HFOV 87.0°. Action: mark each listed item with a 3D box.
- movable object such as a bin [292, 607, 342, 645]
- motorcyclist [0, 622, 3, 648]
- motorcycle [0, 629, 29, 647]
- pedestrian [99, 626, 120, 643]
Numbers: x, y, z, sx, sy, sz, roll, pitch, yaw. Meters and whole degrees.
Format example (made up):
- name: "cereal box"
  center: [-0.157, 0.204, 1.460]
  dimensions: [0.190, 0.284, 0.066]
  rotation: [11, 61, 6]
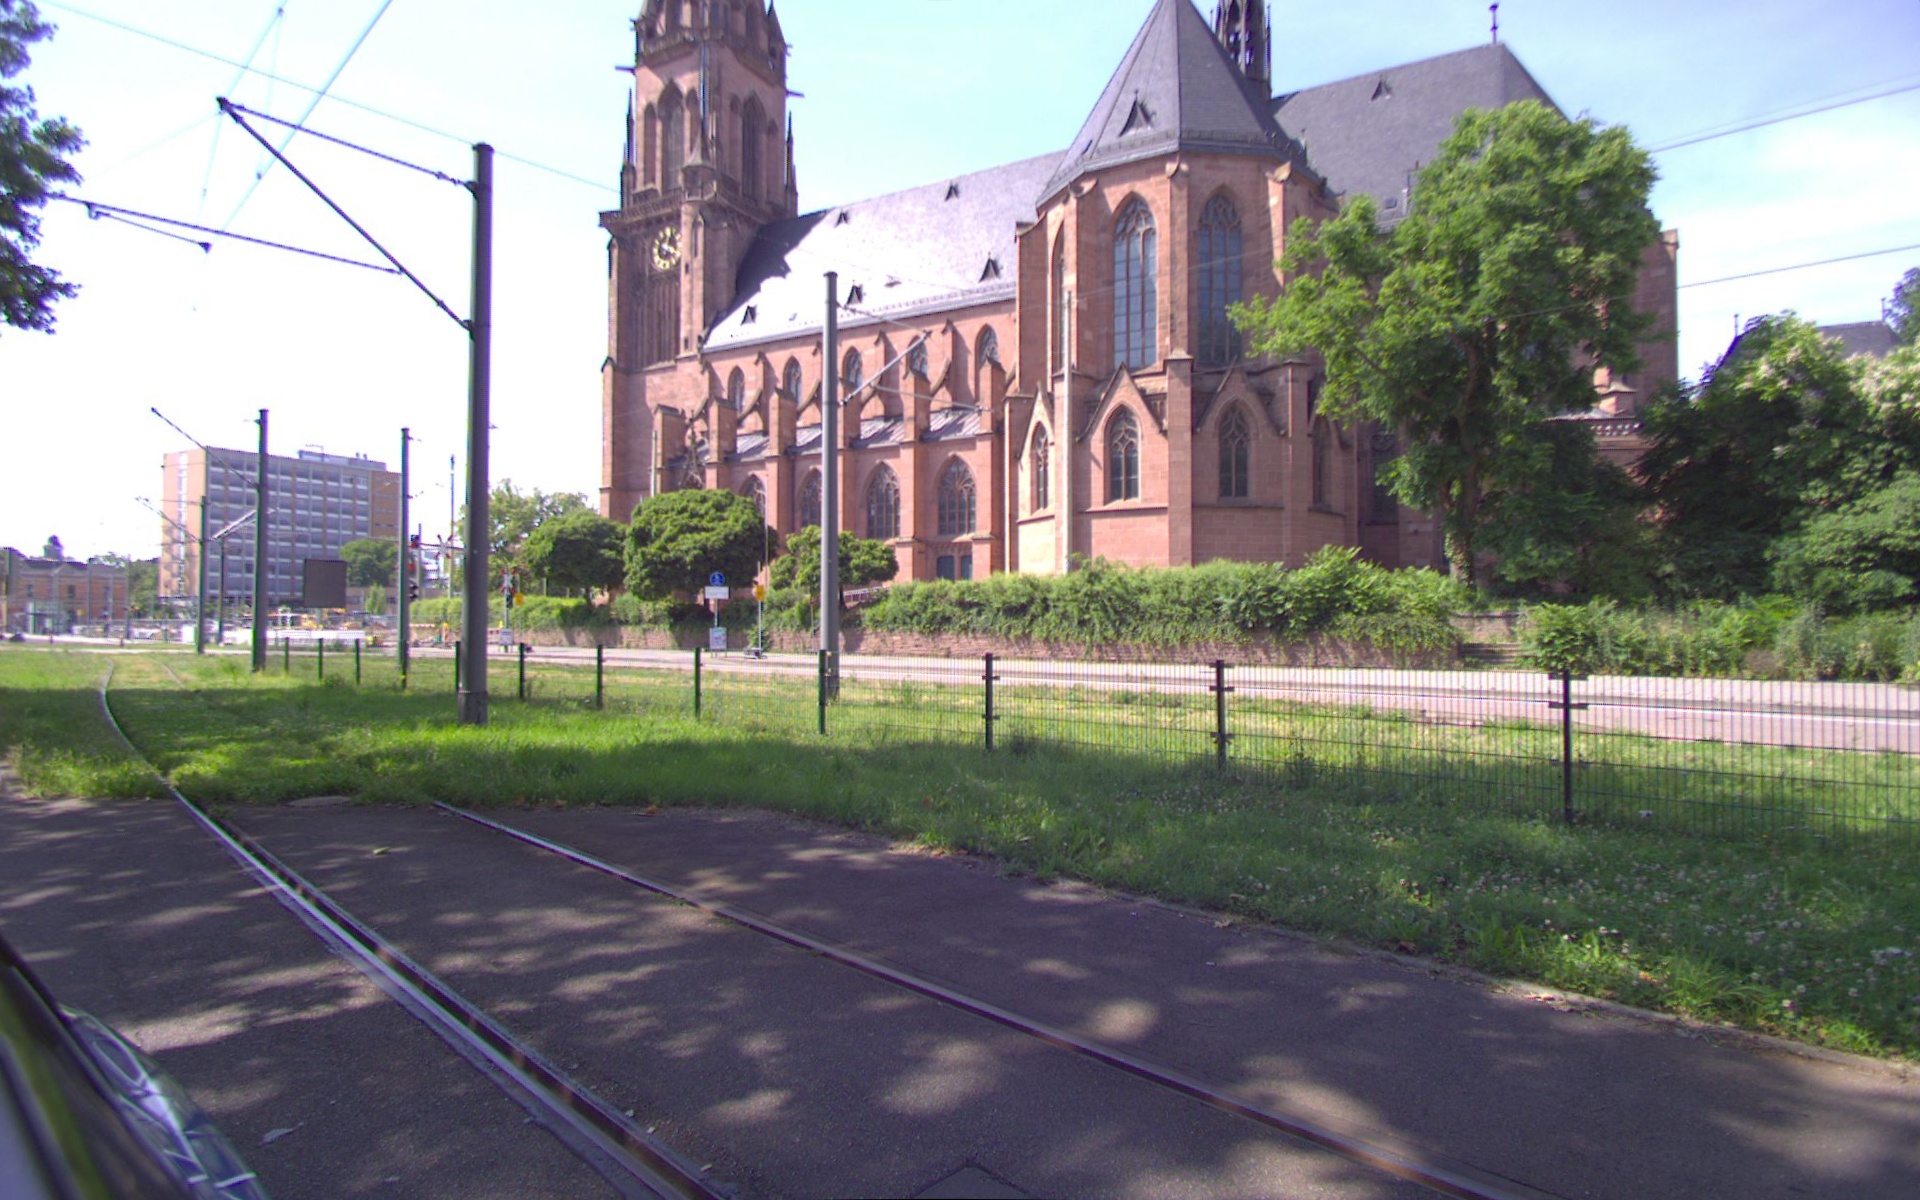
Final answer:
- name: "movable object such as a bin"
  center: [-67.268, 2.713, 105.970]
  dimensions: [2.904, 3.911, 3.327]
  rotation: [0, -2, 8]
- name: "motorcyclist"
  center: [-74.578, 2.705, 77.952]
  dimensions: [1.090, 1.945, 1.336]
  rotation: [1, -2, -39]
- name: "motorcycle"
  center: [-74.459, 2.936, 78.025]
  dimensions: [3.874, 1.349, 1.247]
  rotation: [1, -2, -39]
- name: "pedestrian"
  center: [-93.310, 3.767, 111.035]
  dimensions: [1.420, 1.820, 1.409]
  rotation: [-1, -2, 37]
